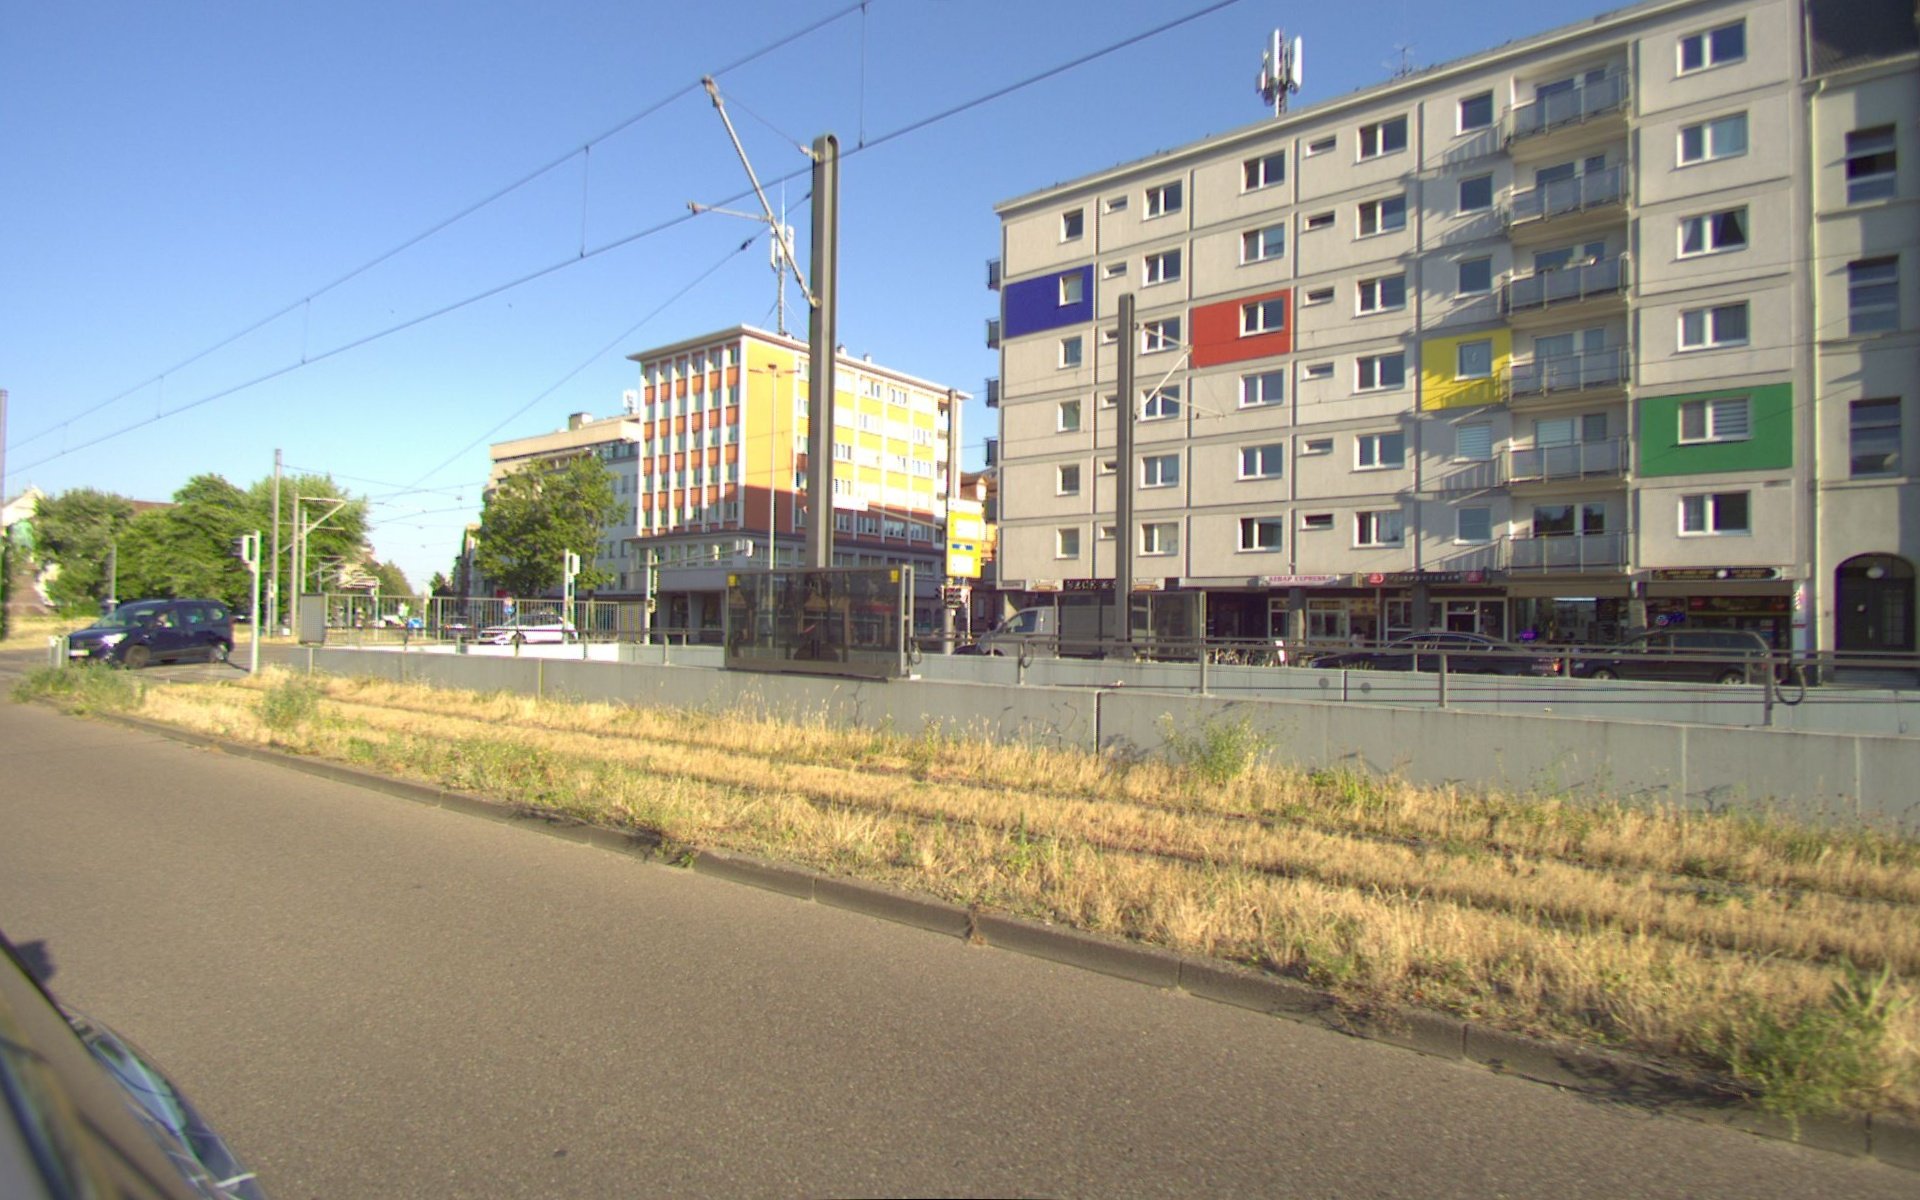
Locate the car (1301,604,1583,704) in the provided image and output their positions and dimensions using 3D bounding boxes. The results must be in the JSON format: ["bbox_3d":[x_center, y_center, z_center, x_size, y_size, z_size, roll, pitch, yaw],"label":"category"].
[{"bbox_3d":[9.753,1.047,20.734,4.890,1.811,1.973,-1,-2,40],"label":"car"}]

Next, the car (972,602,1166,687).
[{"bbox_3d":[2.811,1.115,26.605,4.767,2.029,1.975,0,-2,38],"label":"car"}]

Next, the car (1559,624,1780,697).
[{"bbox_3d":[19.070,1.559,27.332,4.737,1.811,1.974,-1,-2,39],"label":"car"}]

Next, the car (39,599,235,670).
[{"bbox_3d":[-21.837,0.913,27.096,1.747,1.746,4.144,0,-1,2],"label":"car"}]

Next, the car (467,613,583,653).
[{"bbox_3d":[-17.865,1.336,41.766,1.826,1.549,4.239,0,-1,27],"label":"car"}]
